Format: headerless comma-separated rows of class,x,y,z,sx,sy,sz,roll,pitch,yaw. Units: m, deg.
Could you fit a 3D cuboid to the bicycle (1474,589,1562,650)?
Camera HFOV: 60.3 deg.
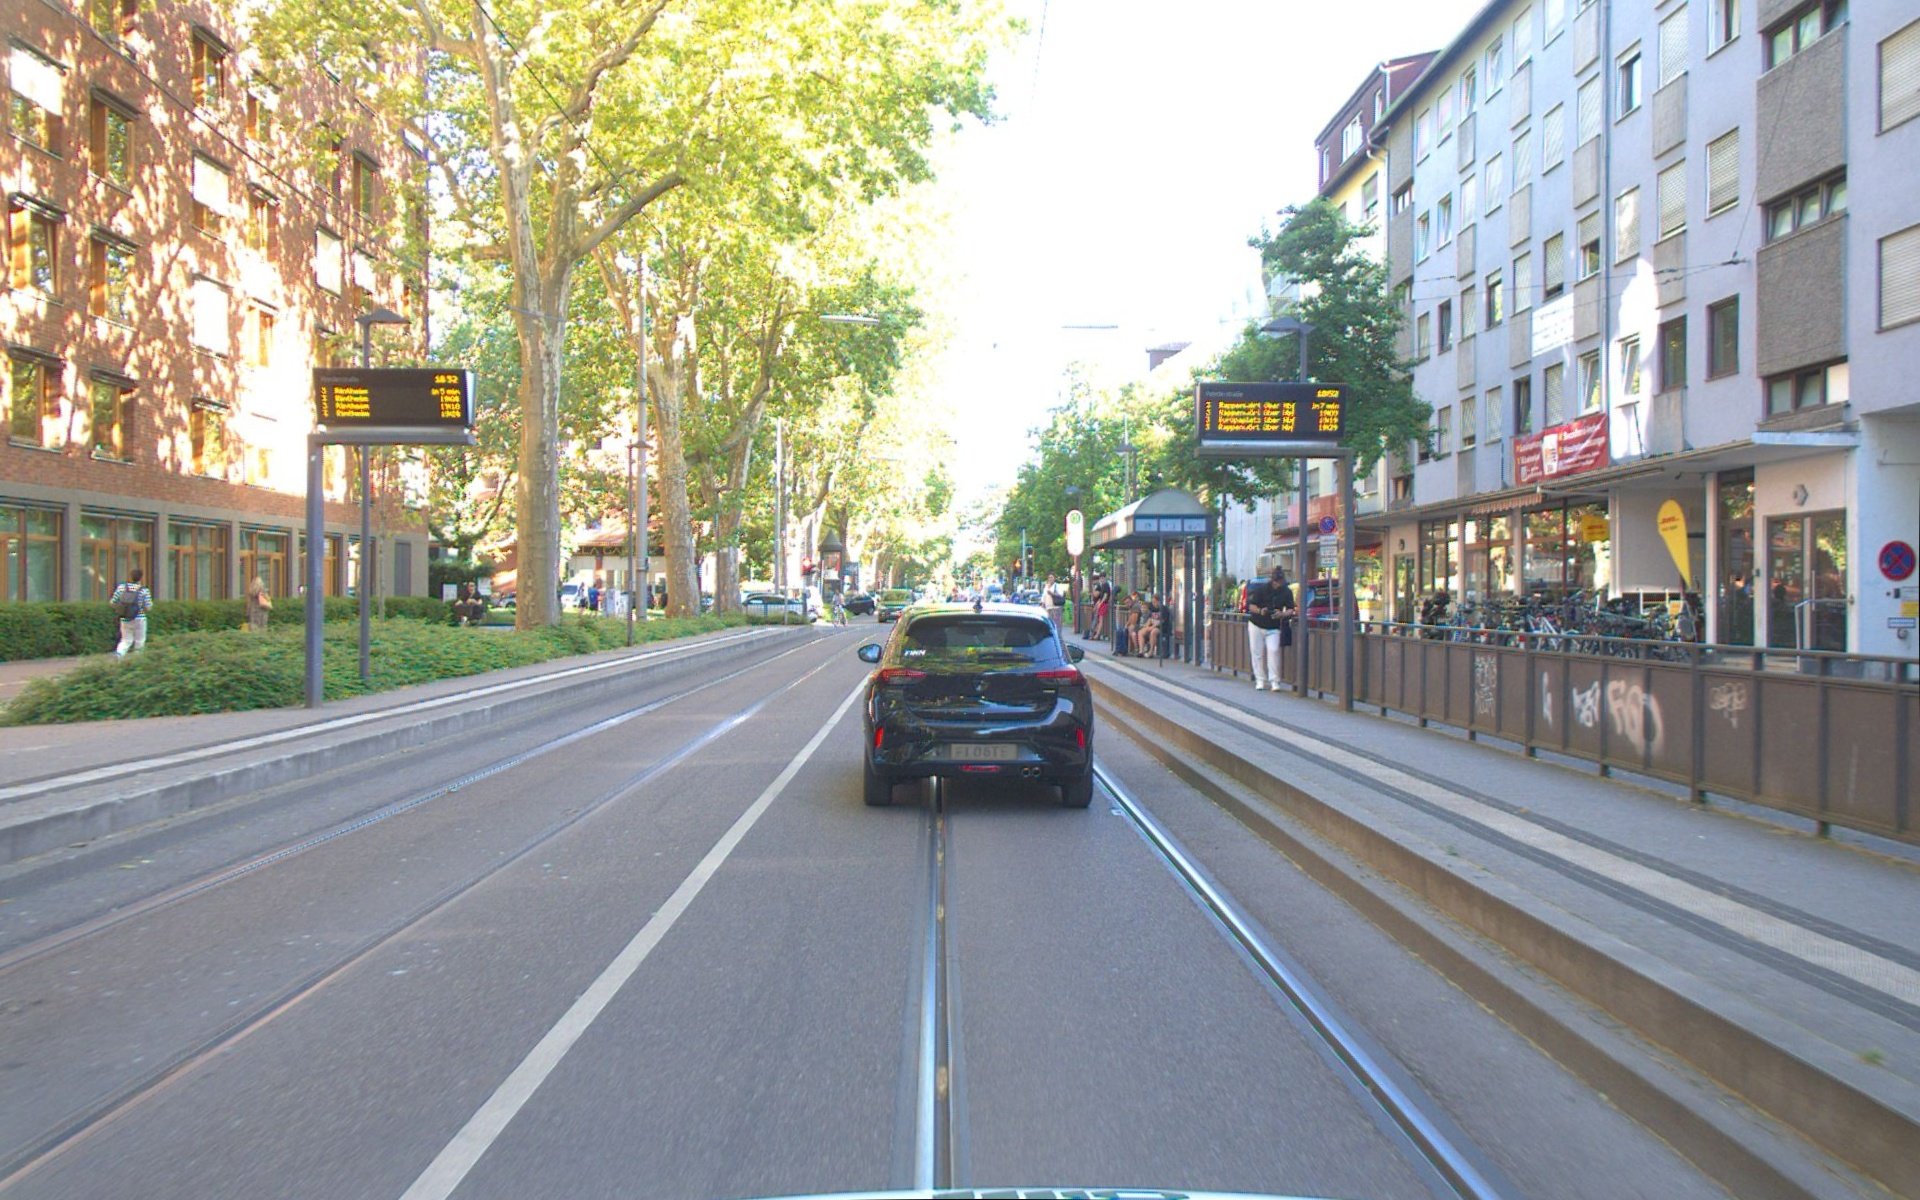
bicycle,10.875,0.373,32.299,0.587,1.156,2.197,1,0,-12

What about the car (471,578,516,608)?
car,-32.328,-0.478,114.695,1.953,2.049,3.999,1,0,-1

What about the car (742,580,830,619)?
car,-8.785,-0.028,83.220,4.302,1.884,1.996,1,0,-8

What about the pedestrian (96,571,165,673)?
pedestrian,-14.137,0.365,28.218,0.720,1.701,0.860,1,0,-1

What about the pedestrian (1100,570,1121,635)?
pedestrian,4.150,0.066,45.625,0.520,1.793,0.661,1,0,1

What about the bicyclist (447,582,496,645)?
bicyclist,-12.014,0.336,40.696,0.935,1.518,0.837,1,0,-1

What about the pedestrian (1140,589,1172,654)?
pedestrian,3.819,0.425,32.235,0.523,1.252,0.510,1,0,-5

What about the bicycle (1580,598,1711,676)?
bicycle,10.555,0.546,25.573,0.610,1.156,2.432,1,0,-12

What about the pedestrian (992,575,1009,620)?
pedestrian,1.879,-0.112,76.411,0.661,2.048,0.701,2,0,5

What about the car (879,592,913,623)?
car,-3.413,0.388,88.002,1.710,1.571,3.998,1,0,-2

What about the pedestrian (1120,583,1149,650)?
pedestrian,3.518,0.325,33.279,0.493,1.327,0.428,1,0,-5

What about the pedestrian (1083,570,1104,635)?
pedestrian,3.618,0.078,44.910,0.520,1.739,0.752,1,0,1

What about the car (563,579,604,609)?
car,-26.092,-0.399,114.845,1.953,2.049,3.999,1,0,-1

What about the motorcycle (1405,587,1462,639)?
motorcycle,12.257,0.330,42.891,0.874,1.302,2.042,1,0,-1

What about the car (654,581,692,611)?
car,-20.058,-0.287,115.729,1.953,2.049,3.999,1,0,-1

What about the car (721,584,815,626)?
car,-8.420,0.223,72.448,4.037,1.730,1.880,1,0,-8

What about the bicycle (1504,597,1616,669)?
bicycle,10.116,0.532,27.997,0.592,1.156,2.427,1,0,-12

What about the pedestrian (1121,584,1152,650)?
pedestrian,3.604,0.338,33.815,0.523,1.327,0.550,1,0,-5

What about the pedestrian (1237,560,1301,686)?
pedestrian,4.058,0.292,21.771,0.618,1.603,0.870,2,0,-1

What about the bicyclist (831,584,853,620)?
bicyclist,-5.717,0.095,80.301,0.921,1.732,1.153,1,0,2

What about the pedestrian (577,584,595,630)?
pedestrian,-16.625,0.311,73.459,0.659,1.984,0.497,2,0,-4

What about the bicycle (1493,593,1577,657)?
bicycle,10.688,0.447,30.839,0.403,1.156,2.197,1,0,-12

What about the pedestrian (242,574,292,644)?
pedestrian,-16.371,0.211,39.098,0.759,1.633,0.946,1,0,-1

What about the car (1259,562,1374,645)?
car,9.000,0.082,42.088,1.953,1.986,3.999,1,0,-2

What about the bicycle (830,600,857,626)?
bicycle,-5.698,0.628,81.052,0.935,1.262,2.978,1,0,2

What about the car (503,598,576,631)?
car,-27.212,0.933,107.117,4.163,2.049,2.000,1,0,-1

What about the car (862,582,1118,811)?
car,0.114,0.655,13.041,1.725,1.534,3.681,0,0,-3

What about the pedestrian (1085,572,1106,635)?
pedestrian,3.796,0.091,46.294,0.520,1.739,0.596,1,0,1

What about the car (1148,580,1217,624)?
car,8.193,0.080,61.113,1.953,1.512,3.999,1,0,-1

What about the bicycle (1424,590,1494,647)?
bicycle,10.477,0.375,34.781,0.586,1.156,2.201,1,0,-6

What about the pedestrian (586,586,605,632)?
pedestrian,-16.002,0.375,72.588,0.659,1.984,0.497,2,0,-4

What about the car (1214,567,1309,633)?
car,8.865,0.002,48.899,1.953,1.829,3.999,1,0,-2

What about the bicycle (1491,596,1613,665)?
bicycle,10.452,0.518,29.331,0.600,1.156,2.913,1,0,-12

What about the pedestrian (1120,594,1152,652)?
pedestrian,3.476,0.450,32.765,0.523,1.119,0.550,1,0,-5

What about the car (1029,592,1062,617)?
car,5.844,0.320,113.054,1.953,1.661,3.999,1,0,-1

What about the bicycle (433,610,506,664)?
bicycle,-12.031,0.888,40.685,0.935,1.262,2.977,1,0,-1

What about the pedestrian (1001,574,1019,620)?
pedestrian,2.266,-0.130,75.465,0.661,2.048,0.702,2,0,11

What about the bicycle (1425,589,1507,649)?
bicycle,10.166,0.365,33.296,0.587,1.156,2.197,1,0,-12

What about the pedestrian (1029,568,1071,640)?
pedestrian,2.206,0.096,40.617,0.736,1.739,0.761,0,-1,34

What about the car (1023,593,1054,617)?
car,5.649,0.338,119.334,1.953,1.661,3.999,1,0,-1
